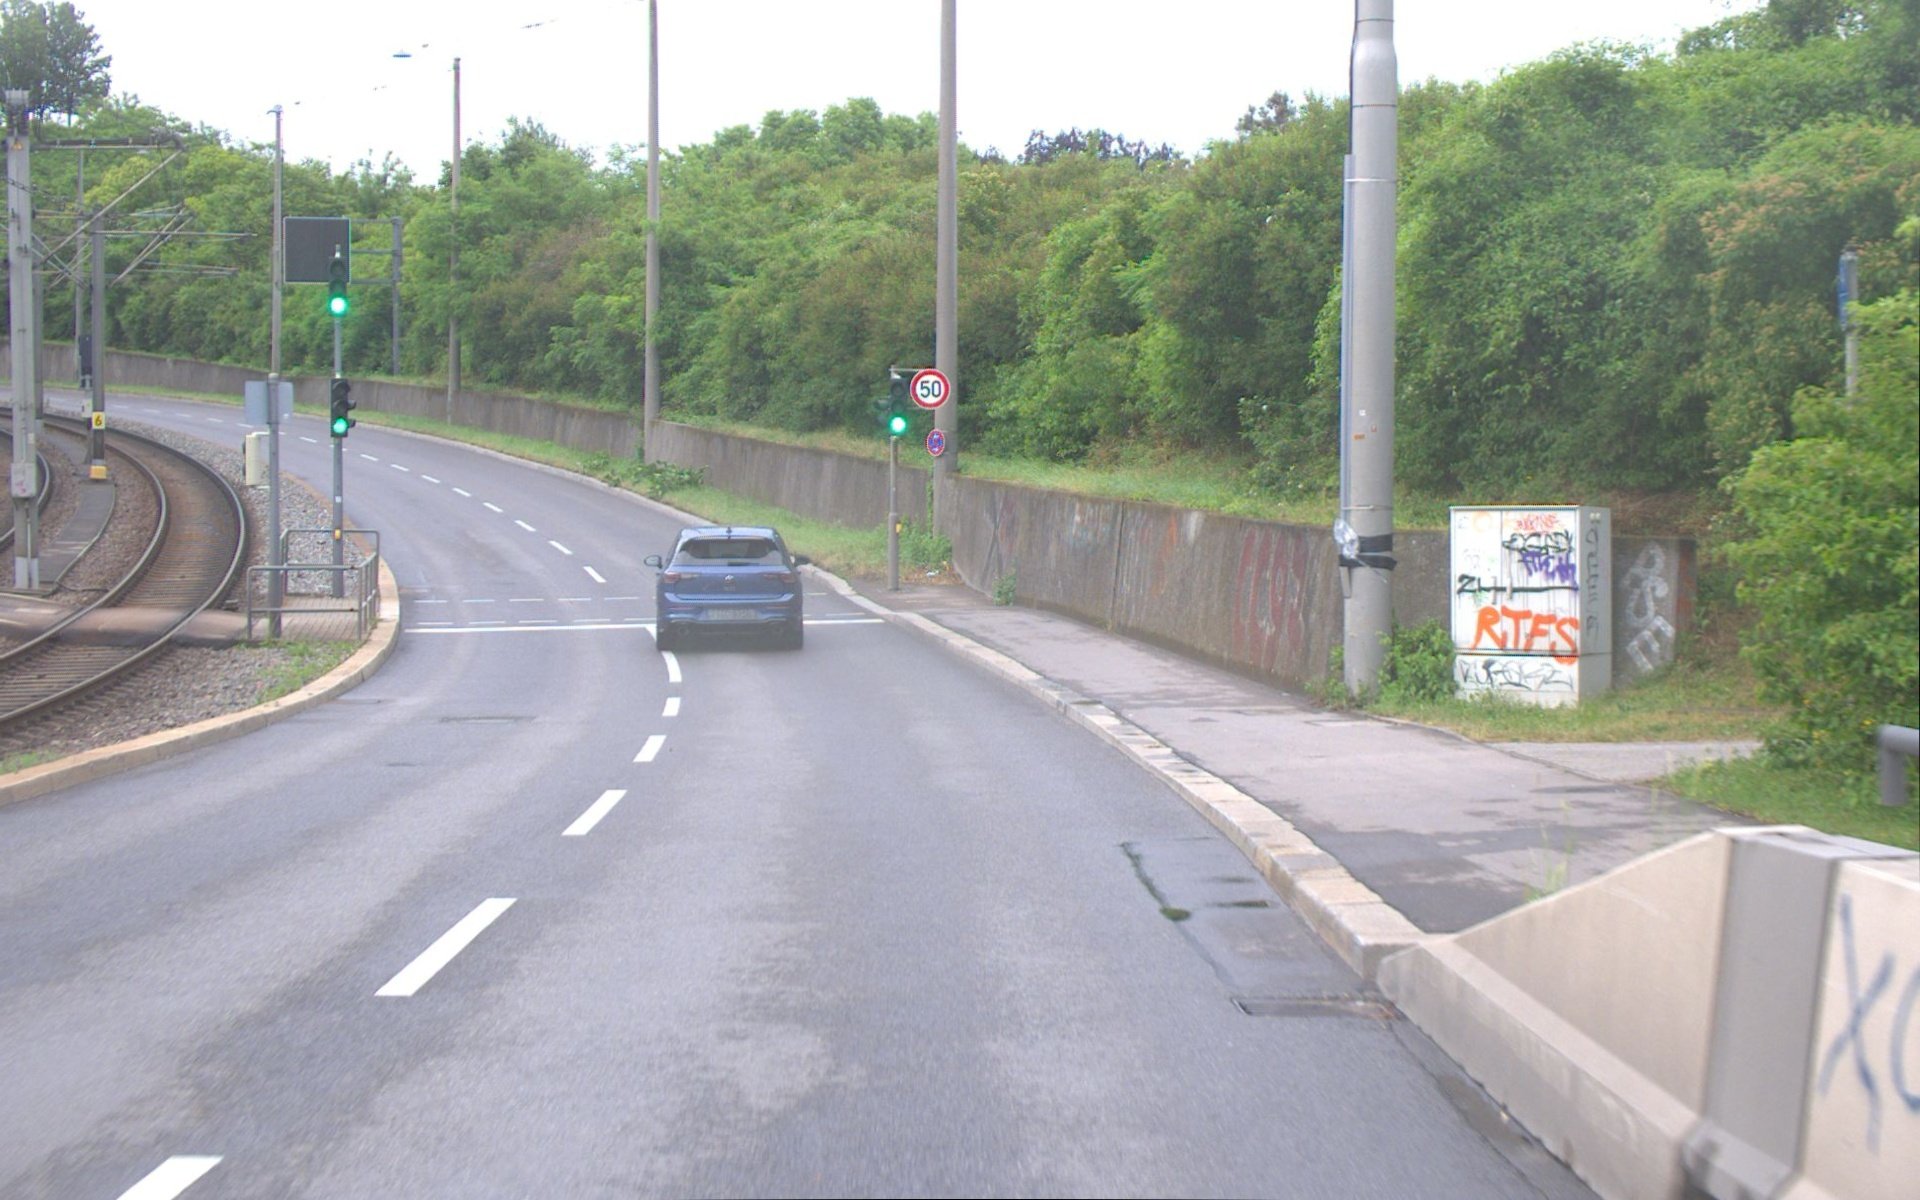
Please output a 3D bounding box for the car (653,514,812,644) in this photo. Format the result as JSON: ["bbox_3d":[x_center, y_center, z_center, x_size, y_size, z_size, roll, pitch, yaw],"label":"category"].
[{"bbox_3d":[-2.829,-0.278,42.049,1.763,1.496,4.001,0,1,-6],"label":"car"}]
